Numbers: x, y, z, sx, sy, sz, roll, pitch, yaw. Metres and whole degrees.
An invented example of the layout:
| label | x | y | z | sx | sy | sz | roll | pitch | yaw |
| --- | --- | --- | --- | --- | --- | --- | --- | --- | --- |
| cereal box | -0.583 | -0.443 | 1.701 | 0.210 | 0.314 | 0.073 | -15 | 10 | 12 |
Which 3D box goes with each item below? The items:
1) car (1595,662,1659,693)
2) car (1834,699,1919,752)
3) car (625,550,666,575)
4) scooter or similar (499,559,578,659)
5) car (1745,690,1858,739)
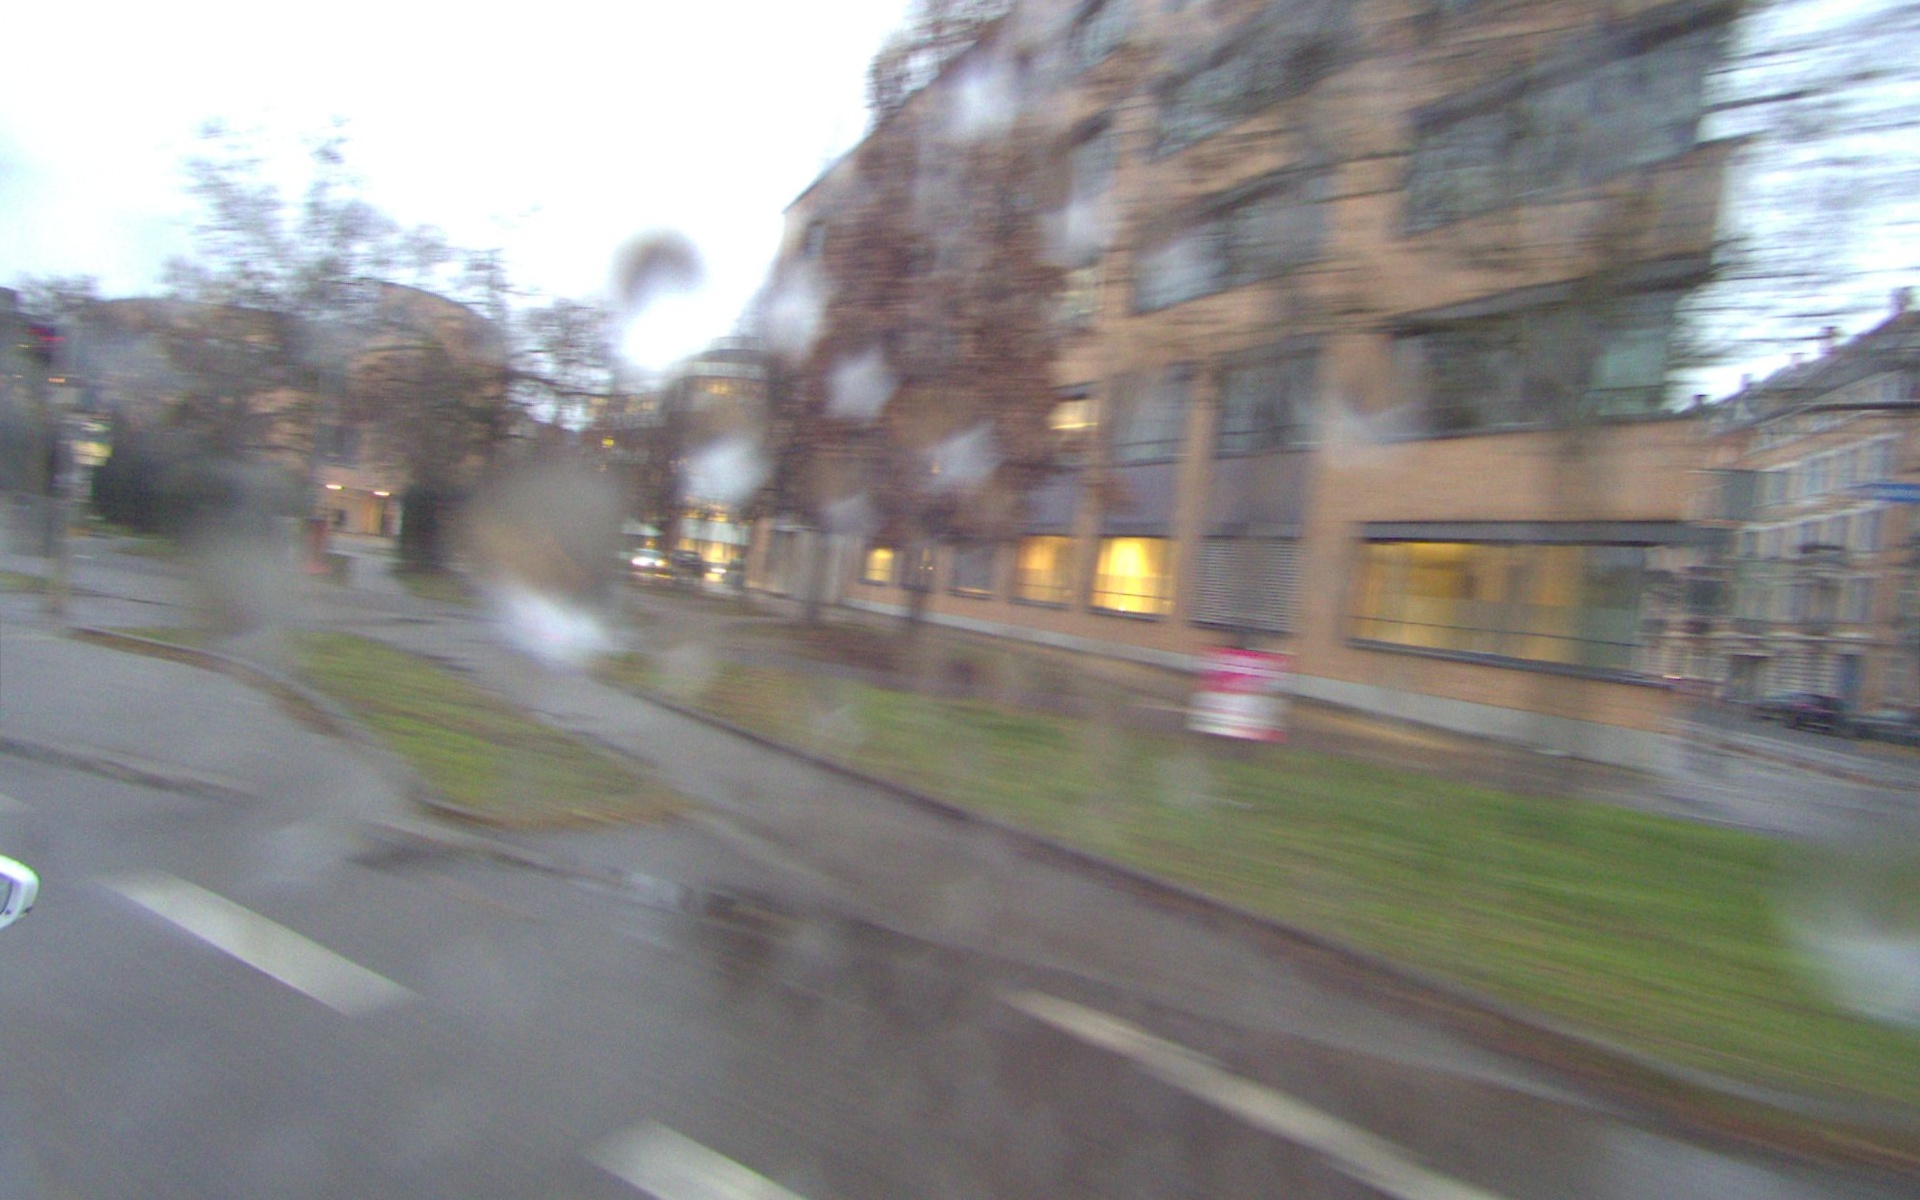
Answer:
| label | x | y | z | sx | sy | sz | roll | pitch | yaw |
| --- | --- | --- | --- | --- | --- | --- | --- | --- | --- |
| car | 42.010 | 4.867 | 63.471 | 1.962 | 1.459 | 4.511 | 7 | 1 | 16 |
| car | 34.565 | 4.673 | 36.885 | 1.962 | 1.459 | 4.511 | 7 | 1 | 16 |
| car | -19.185 | -2.305 | 61.202 | 1.653 | 1.196 | 3.680 | 6 | 1 | -28 |
| scooter or similar | -5.725 | 0.114 | 13.723 | 0.478 | 1.247 | 1.144 | 7 | 1 | 0 |
| car | 36.354 | 4.890 | 43.620 | 1.962 | 1.459 | 4.511 | 7 | 1 | 16 |
